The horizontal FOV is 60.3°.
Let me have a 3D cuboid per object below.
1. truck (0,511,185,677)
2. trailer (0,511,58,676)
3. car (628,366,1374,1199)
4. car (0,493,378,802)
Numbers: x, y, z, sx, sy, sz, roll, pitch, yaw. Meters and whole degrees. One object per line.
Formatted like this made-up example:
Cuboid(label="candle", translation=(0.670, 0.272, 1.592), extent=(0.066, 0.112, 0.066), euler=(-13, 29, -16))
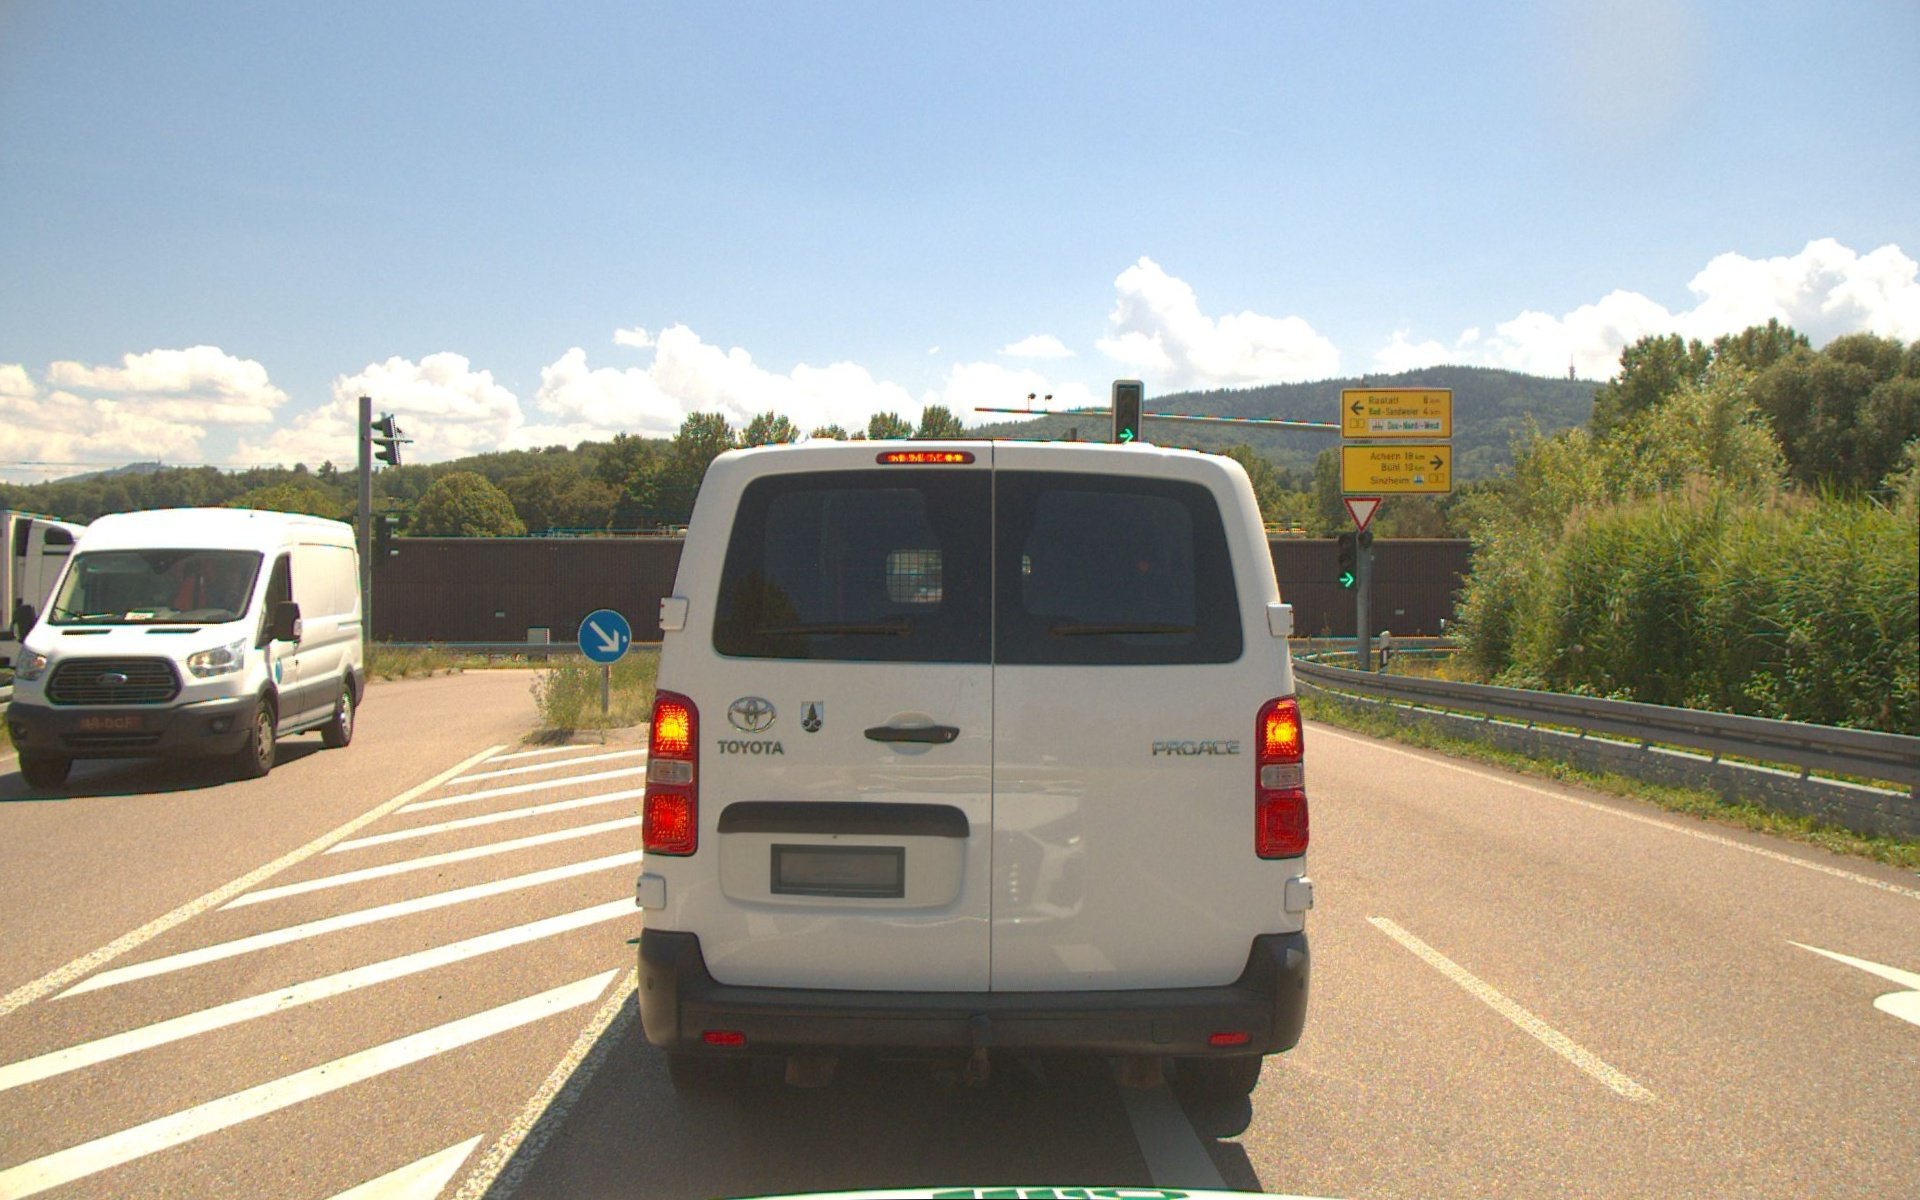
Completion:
Cuboid(label="truck", translation=(-23.131, -0.134, 41.750), extent=(5.649, 4.024, 3.061), euler=(0, -1, -3))
Cuboid(label="trailer", translation=(-29.982, -0.170, 41.427), extent=(12.877, 4.024, 3.060), euler=(0, -1, -3))
Cuboid(label="car", translation=(0.075, 0.482, 5.954), extent=(1.778, 2.053, 3.999), euler=(0, 0, -1))
Cuboid(label="car", translation=(-7.292, 0.382, 16.250), extent=(1.957, 2.458, 5.577), euler=(-2, 0, -9))
